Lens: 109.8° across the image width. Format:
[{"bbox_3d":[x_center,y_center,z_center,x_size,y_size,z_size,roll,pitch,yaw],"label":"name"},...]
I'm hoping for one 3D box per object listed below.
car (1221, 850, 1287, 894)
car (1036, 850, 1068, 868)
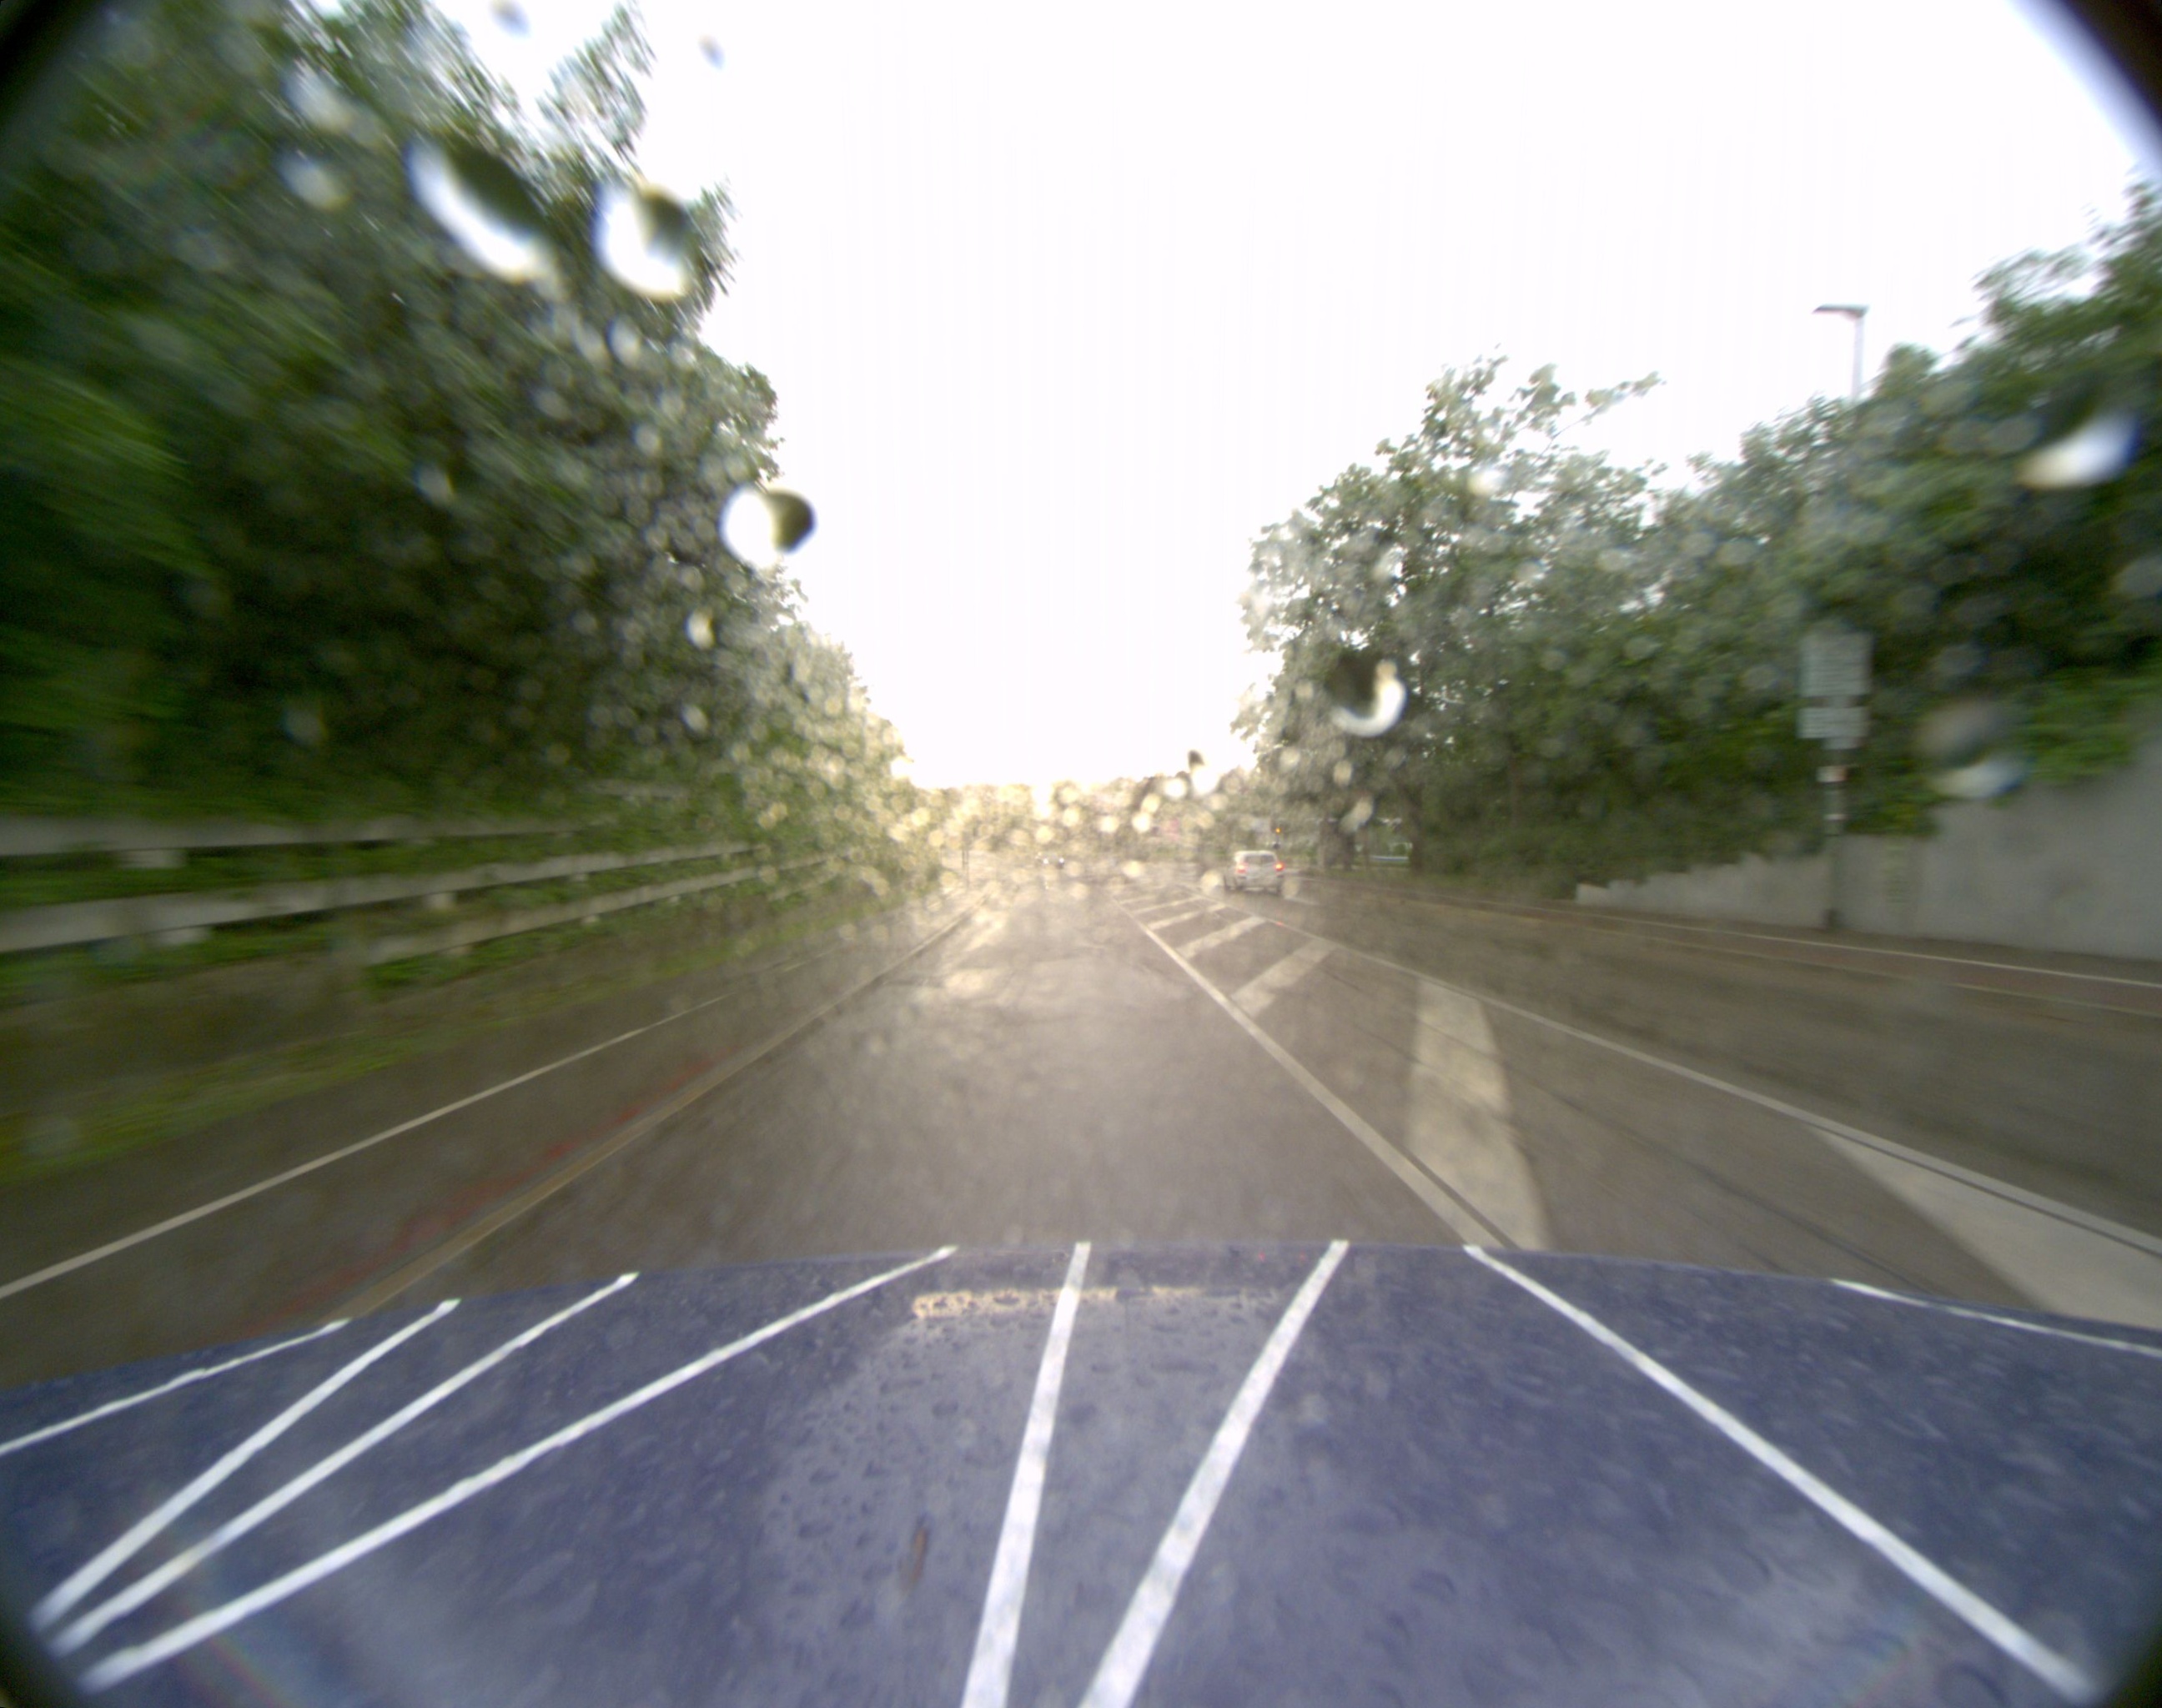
[{"bbox_3d":[6.135,0.582,27.278,1.516,1.440,3.816,-1,0,1],"label":"car"},{"bbox_3d":[-2.451,0.416,63.883,1.761,1.387,3.995,-2,0,-15],"label":"car"}]
